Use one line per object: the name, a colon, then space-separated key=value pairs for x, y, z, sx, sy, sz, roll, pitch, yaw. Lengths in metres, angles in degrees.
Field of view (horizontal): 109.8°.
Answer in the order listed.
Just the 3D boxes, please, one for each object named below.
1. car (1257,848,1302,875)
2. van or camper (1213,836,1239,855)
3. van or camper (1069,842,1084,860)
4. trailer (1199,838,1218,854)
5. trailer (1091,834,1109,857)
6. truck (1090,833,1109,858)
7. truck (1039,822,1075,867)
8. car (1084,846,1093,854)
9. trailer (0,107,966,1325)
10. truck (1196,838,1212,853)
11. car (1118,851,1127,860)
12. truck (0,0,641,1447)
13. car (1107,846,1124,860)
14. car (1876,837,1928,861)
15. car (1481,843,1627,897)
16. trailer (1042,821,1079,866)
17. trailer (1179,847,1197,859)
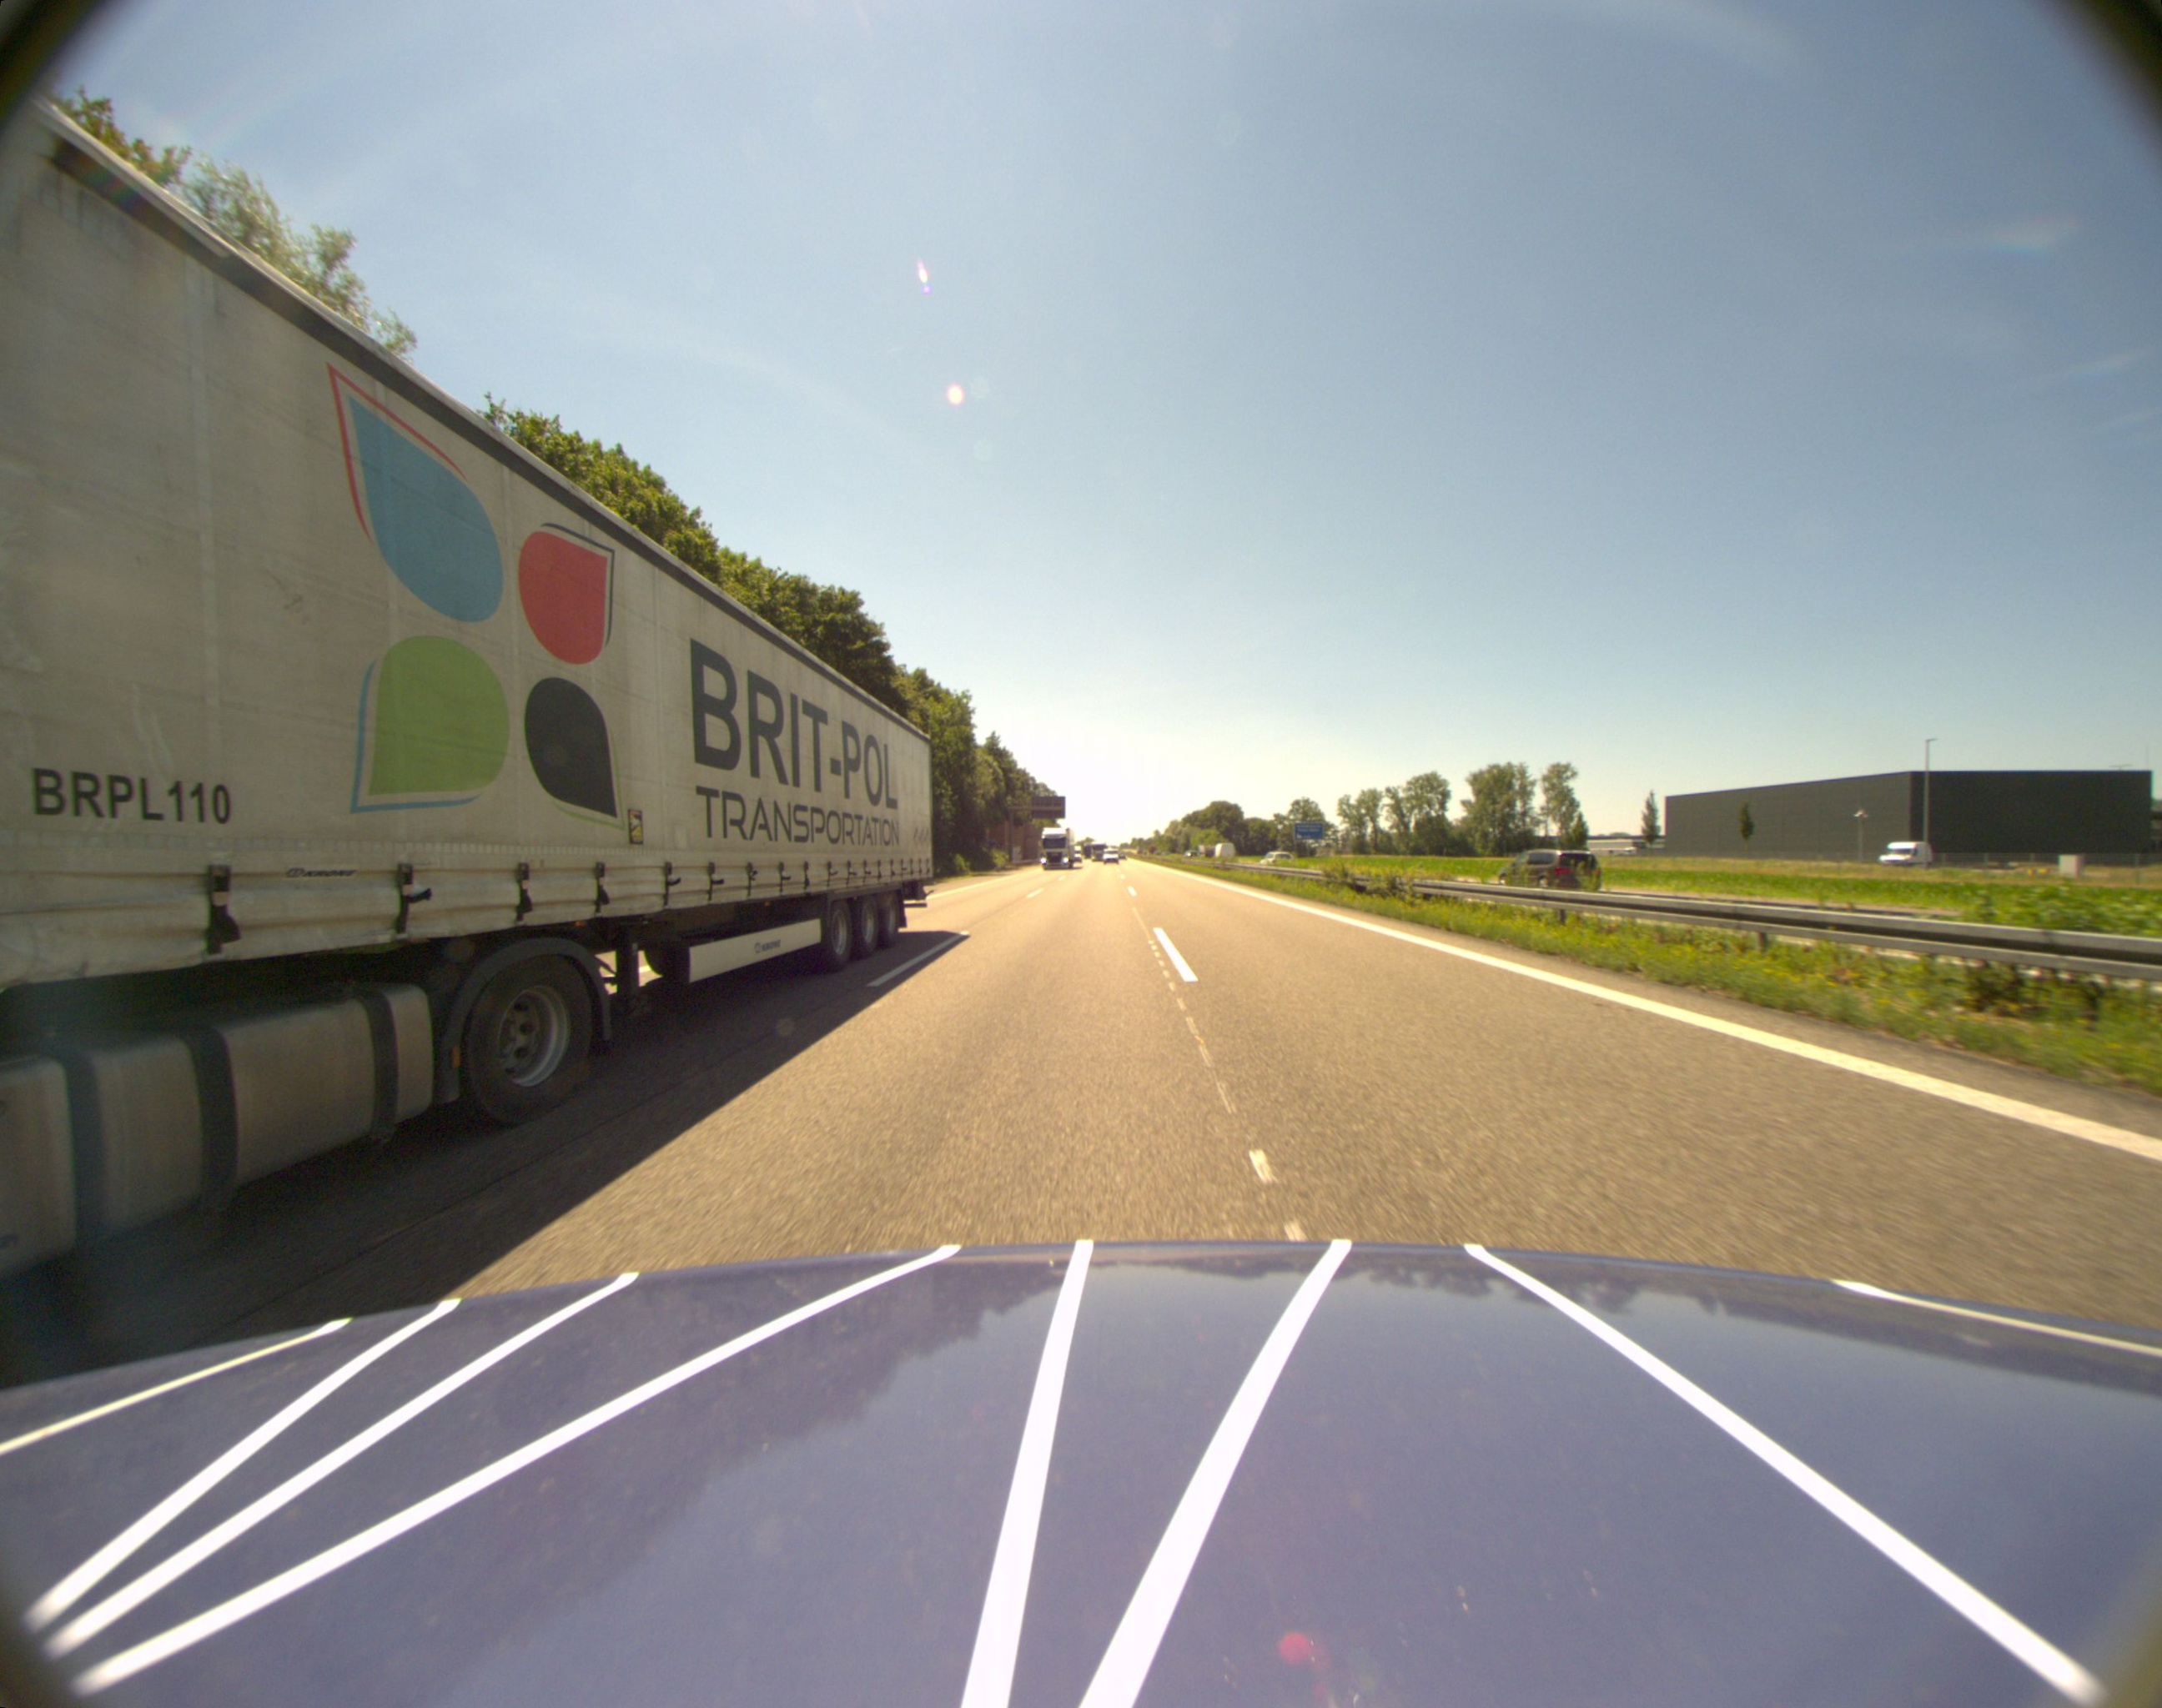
car: x=14.265 y=0.502 z=54.931 sx=2.050 sy=1.796 sz=5.418 roll=0 pitch=1 yaw=2
van or camper: x=19.868 y=-1.227 z=104.252 sx=2.427 sy=2.519 sz=6.175 roll=1 pitch=1 yaw=1
van or camper: x=-0.671 y=-0.498 z=117.771 sx=2.027 sy=2.622 sz=6.487 roll=-2 pitch=1 yaw=2
trailer: x=26.037 y=-1.715 z=155.952 sx=2.682 sy=3.219 sz=9.258 roll=-1 pitch=1 yaw=2
trailer: x=3.347 y=-1.520 z=134.365 sx=2.927 sy=4.018 sz=7.316 roll=-2 pitch=1 yaw=2
truck: x=3.212 y=-1.430 z=130.156 sx=2.896 sy=4.007 sz=6.869 roll=-2 pitch=1 yaw=2
truck: x=-2.272 y=-0.955 z=73.387 sx=3.010 sy=4.101 sz=5.252 roll=-1 pitch=1 yaw=2
car: x=1.836 y=-0.908 z=187.743 sx=1.998 sy=2.002 sz=4.868 roll=0 pitch=1 yaw=2
trailer: x=-4.555 y=-0.527 z=10.300 sx=3.113 sy=4.481 sz=14.895 roll=-2 pitch=1 yaw=2
truck: x=26.247 y=-1.815 z=162.063 sx=2.704 sy=3.232 sz=5.838 roll=0 pitch=1 yaw=2
car: x=7.983 y=0.302 z=145.922 sx=1.796 sy=1.696 sz=4.000 roll=0 pitch=1 yaw=2
truck: x=-4.779 y=-0.427 z=2.276 sx=3.094 sy=4.415 sz=6.052 roll=-1 pitch=1 yaw=2
car: x=4.455 y=-0.144 z=99.513 sx=2.146 sy=1.810 sz=5.267 roll=-1 pitch=1 yaw=2
car: x=76.702 y=-0.496 z=70.983 sx=5.618 sy=2.165 sz=2.104 roll=0 pitch=1 yaw=-30
car: x=17.435 y=0.526 z=28.435 sx=2.322 sy=1.805 sz=5.351 roll=0 pitch=1 yaw=2
trailer: x=-2.038 y=-1.116 z=80.881 sx=3.001 sy=4.264 sz=13.418 roll=-2 pitch=1 yaw=2
trailer: x=15.163 y=-0.171 z=107.985 sx=1.998 sy=1.748 sz=4.857 roll=0 pitch=1 yaw=1
